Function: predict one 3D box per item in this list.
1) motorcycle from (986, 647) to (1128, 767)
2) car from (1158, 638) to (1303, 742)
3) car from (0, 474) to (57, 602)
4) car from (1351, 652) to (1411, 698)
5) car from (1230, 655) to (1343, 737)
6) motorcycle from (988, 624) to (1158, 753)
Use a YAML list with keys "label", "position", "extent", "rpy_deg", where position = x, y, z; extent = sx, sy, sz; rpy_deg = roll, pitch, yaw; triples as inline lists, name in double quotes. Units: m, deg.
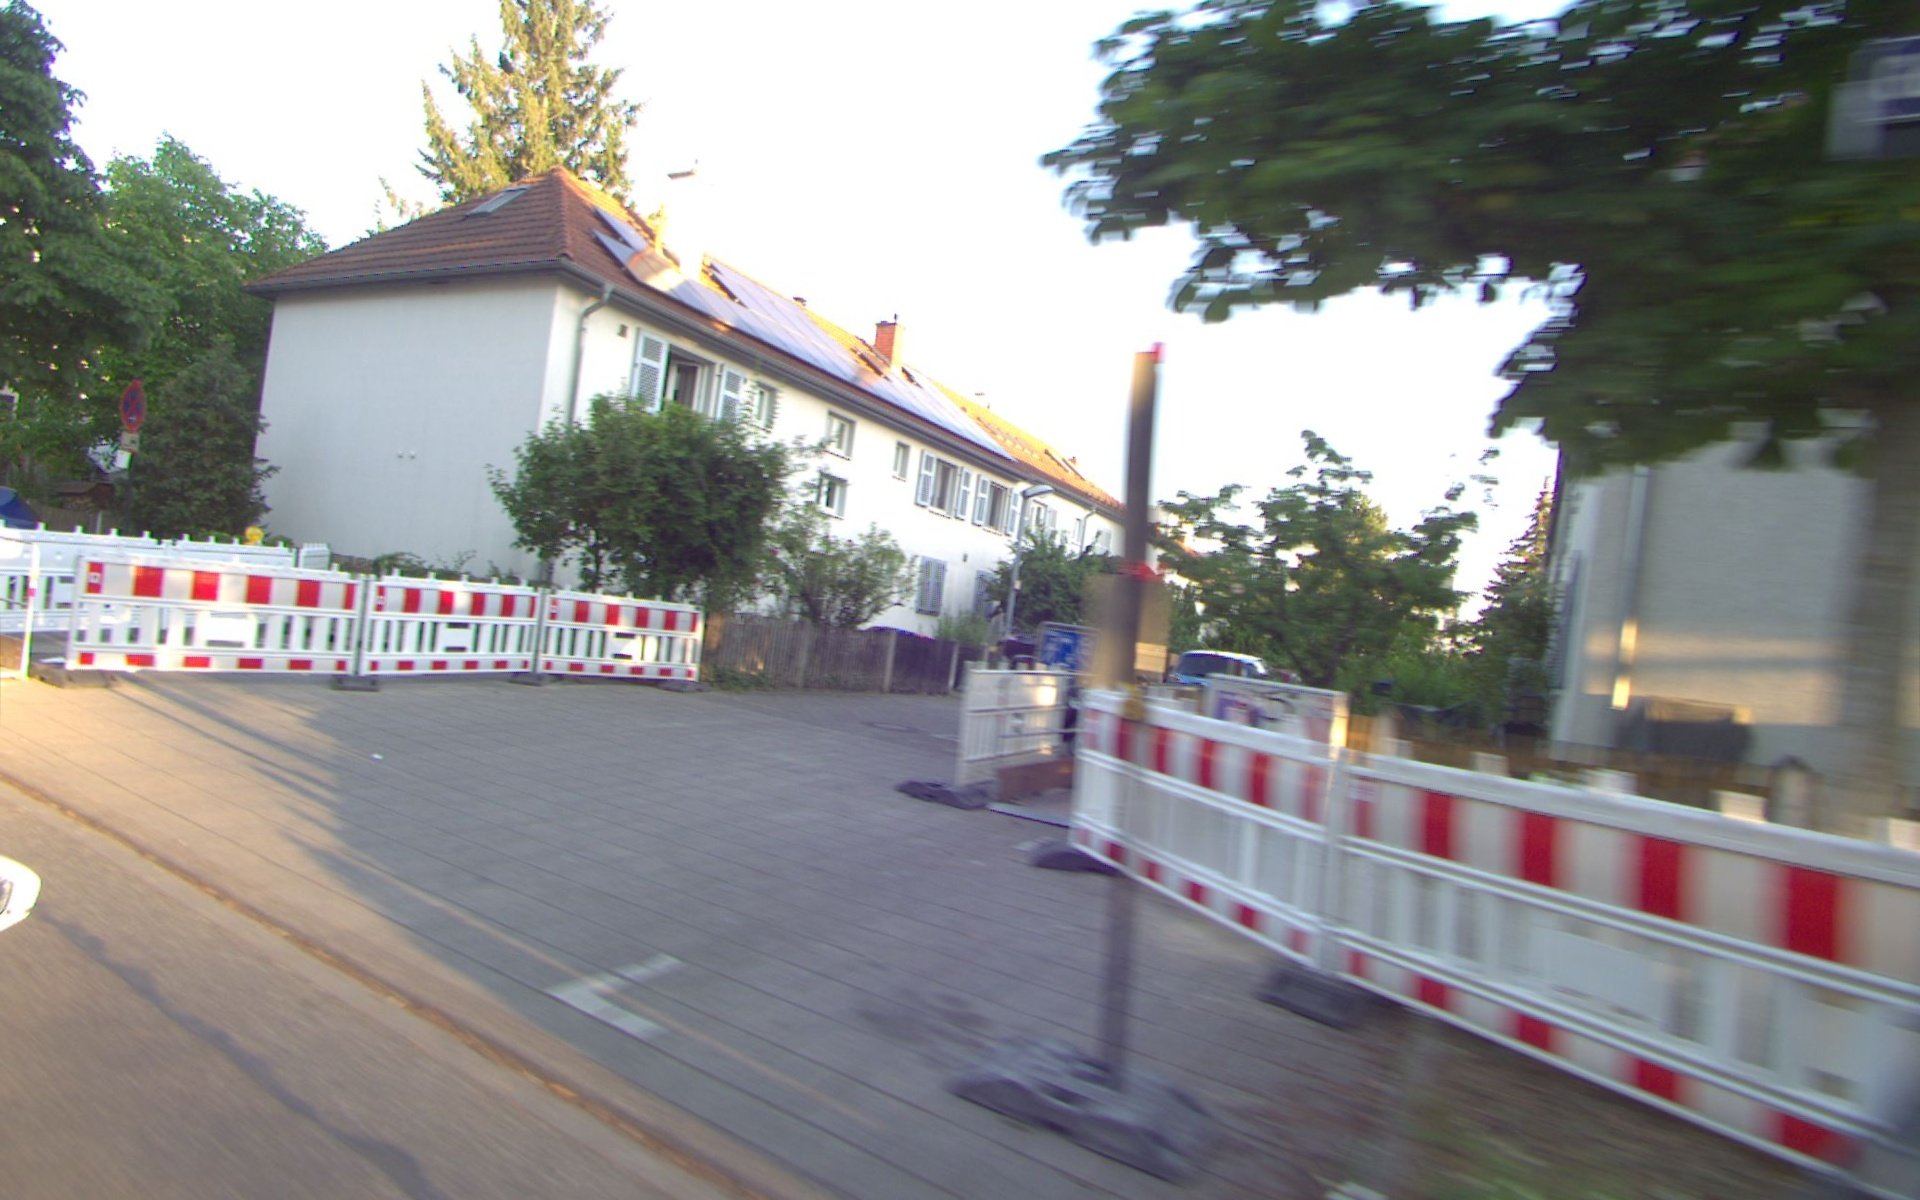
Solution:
- label: "motorcycle"
  position: [1.093, 1.221, 11.857]
  extent: [0.575, 1.118, 1.833]
  rpy_deg: [9, -1, -30]
- label: "car"
  position: [5.443, 1.812, 19.955]
  extent: [1.691, 1.656, 3.630]
  rpy_deg: [8, -2, 31]
- label: "car"
  position: [-14.139, -1.074, 12.402]
  extent: [1.732, 1.670, 4.003]
  rpy_deg: [8, -2, 20]
- label: "car"
  position: [14.528, 2.599, 34.654]
  extent: [1.449, 1.261, 3.068]
  rpy_deg: [8, -2, 29]
- label: "car"
  position: [7.900, 2.325, 24.124]
  extent: [1.773, 1.569, 3.642]
  rpy_deg: [8, -2, 29]
- label: "motorcycle"
  position: [1.524, 1.196, 13.623]
  extent: [2.048, 1.433, 0.596]
  rpy_deg: [9, -1, -12]
